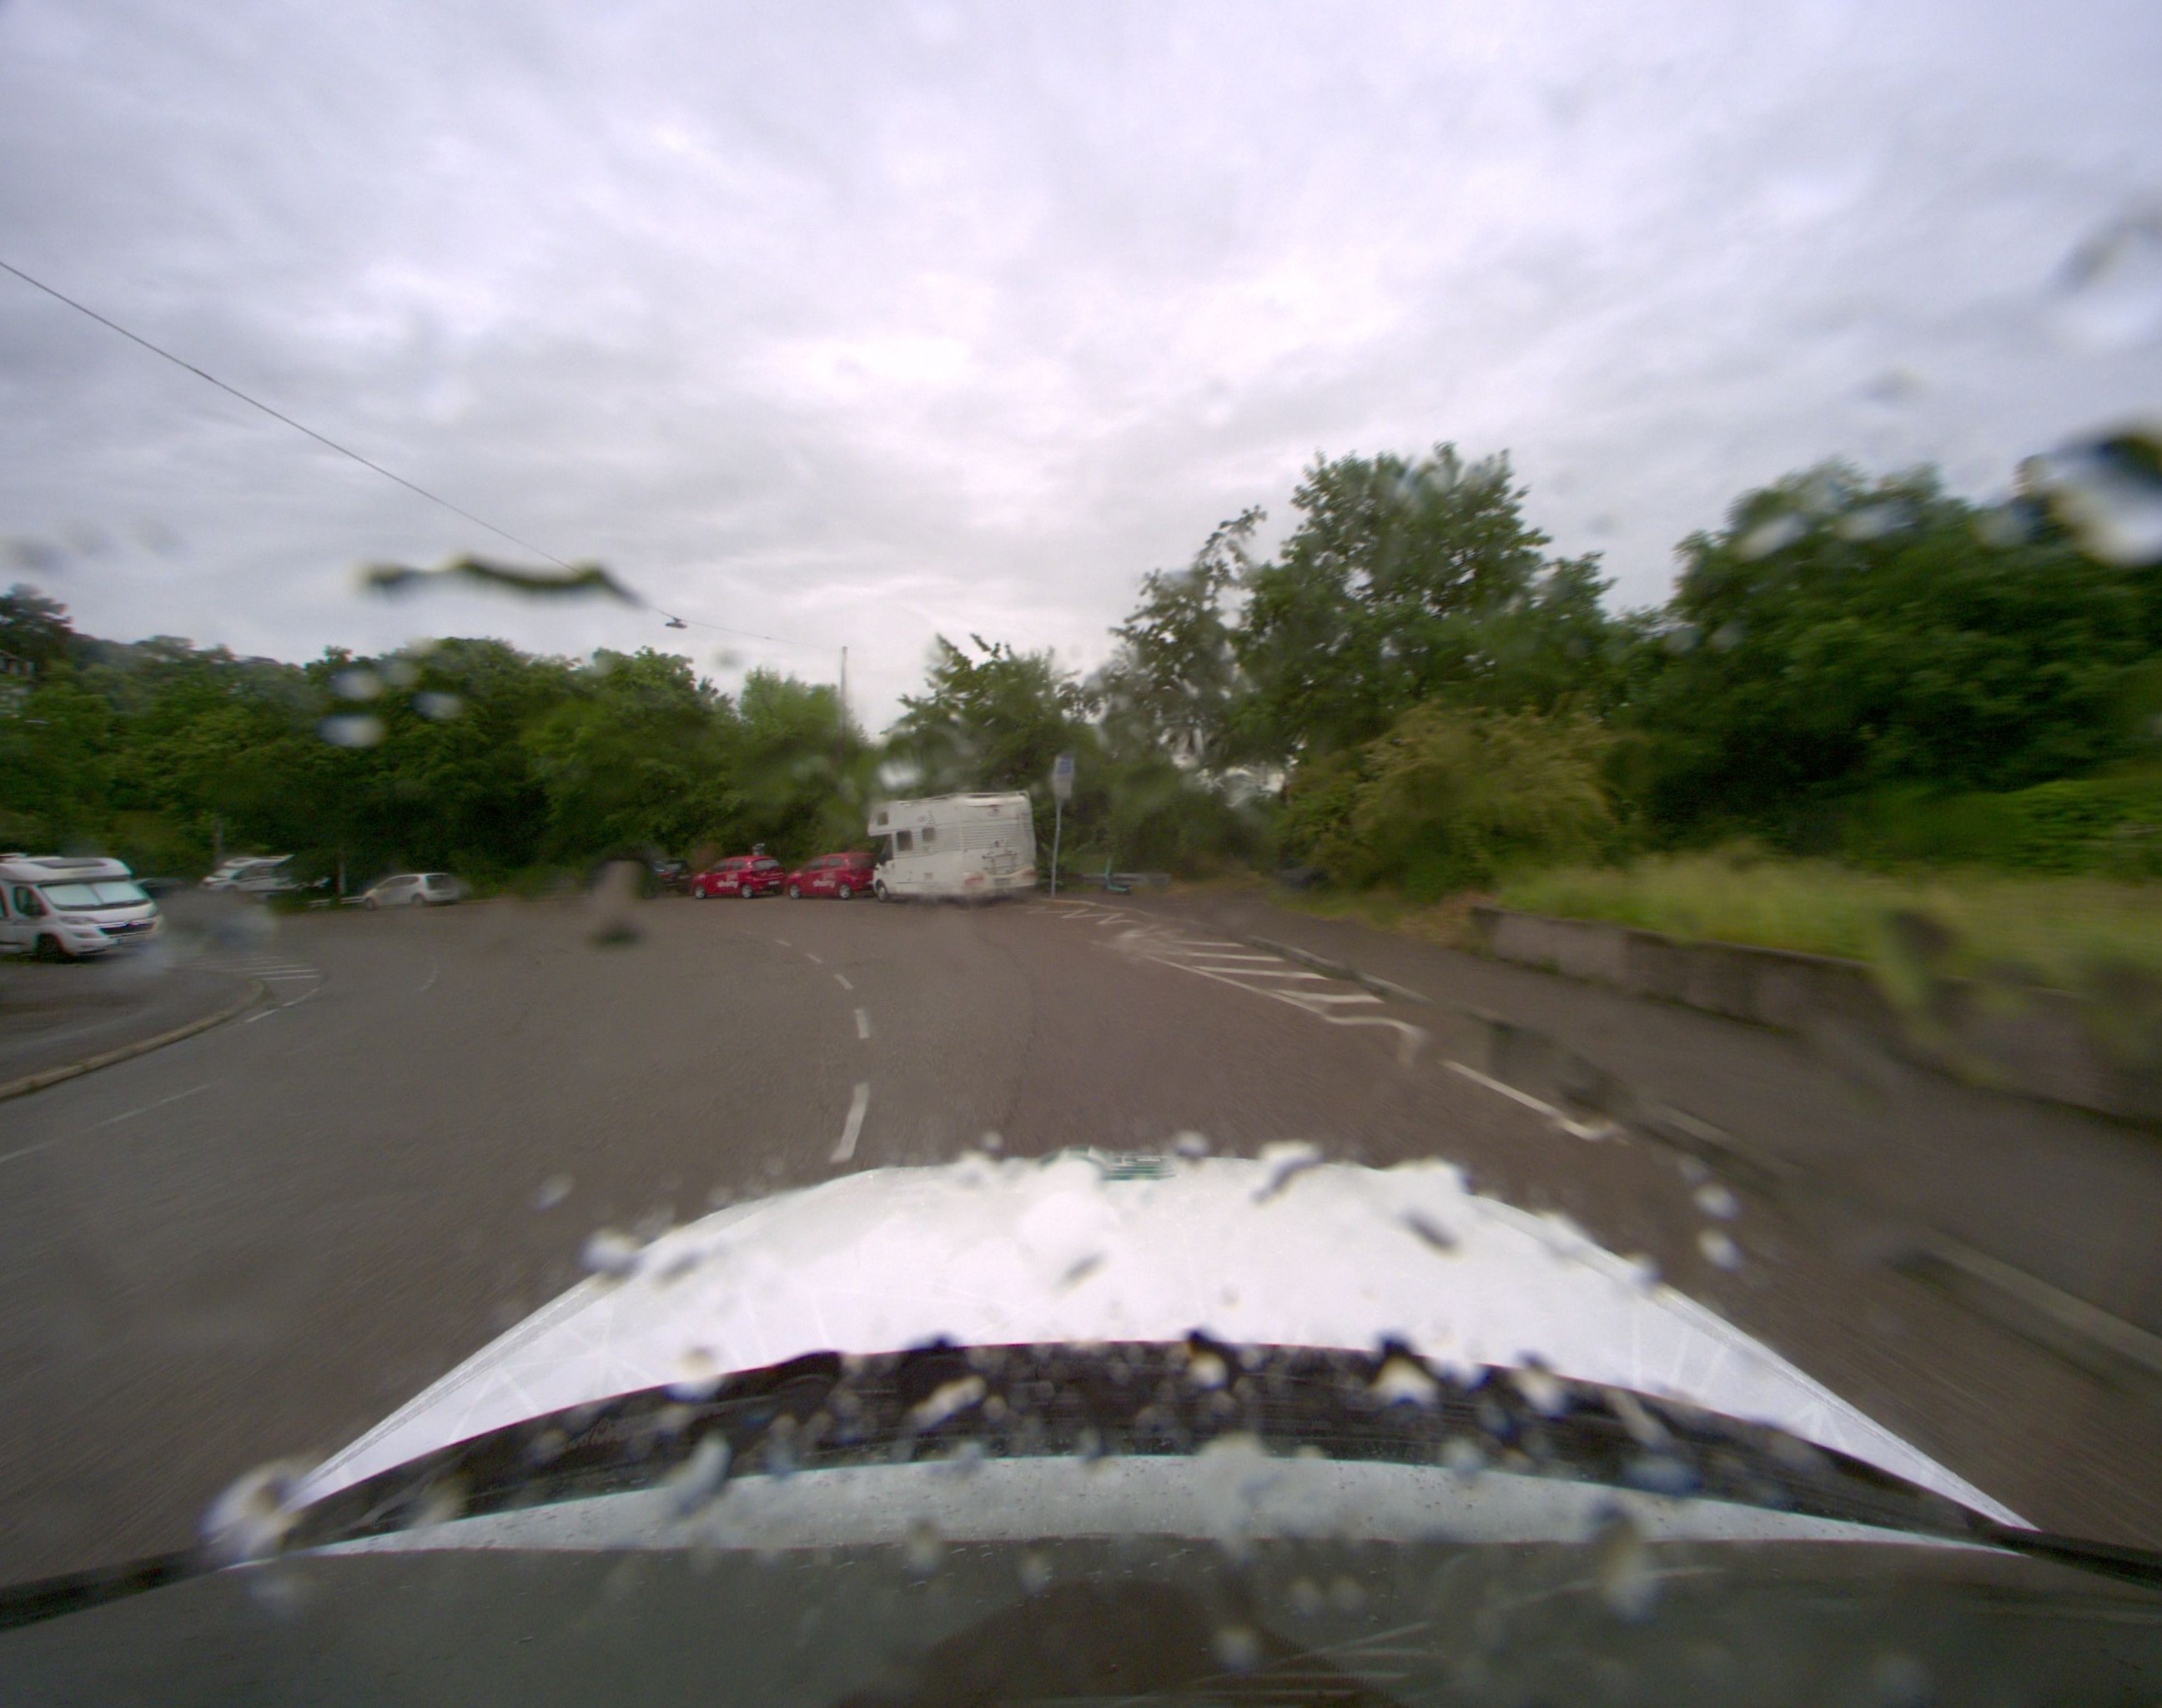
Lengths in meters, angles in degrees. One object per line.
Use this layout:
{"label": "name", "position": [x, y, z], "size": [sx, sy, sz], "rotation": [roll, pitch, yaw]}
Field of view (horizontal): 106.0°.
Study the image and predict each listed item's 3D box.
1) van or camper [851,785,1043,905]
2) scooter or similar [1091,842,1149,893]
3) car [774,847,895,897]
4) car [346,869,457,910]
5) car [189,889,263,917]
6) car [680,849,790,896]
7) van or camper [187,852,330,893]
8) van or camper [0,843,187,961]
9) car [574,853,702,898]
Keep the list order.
{"label": "van or camper", "position": [-4.053, -0.272, 23.493], "size": [2.411, 2.943, 6.207], "rotation": [-6, 3, -41]}
{"label": "scooter or similar", "position": [0.998, 0.360, 21.452], "size": [0.454, 1.282, 1.689], "rotation": [-2, 0, -40]}
{"label": "car", "position": [-8.325, 0.606, 27.419], "size": [3.757, 1.460, 1.657], "rotation": [-2, 3, 30]}
{"label": "car", "position": [-29.430, 1.529, 35.308], "size": [3.633, 1.501, 1.594], "rotation": [-3, 0, 9]}
{"label": "car", "position": [-49.531, 2.801, 47.258], "size": [1.658, 1.465, 3.996], "rotation": [3, -3, -27]}
{"label": "car", "position": [-12.685, 0.678, 29.866], "size": [3.630, 1.513, 1.573], "rotation": [-1, 3, 24]}
{"label": "van or camper", "position": [-64.133, 1.346, 63.780], "size": [2.178, 2.932, 7.693], "rotation": [4, 1, 16]}
{"label": "van or camper", "position": [-28.078, 1.269, 21.688], "size": [6.982, 2.787, 2.170], "rotation": [-2, 3, 10]}
{"label": "car", "position": [-17.342, 0.853, 31.893], "size": [4.541, 1.513, 1.733], "rotation": [-2, 3, 21]}
